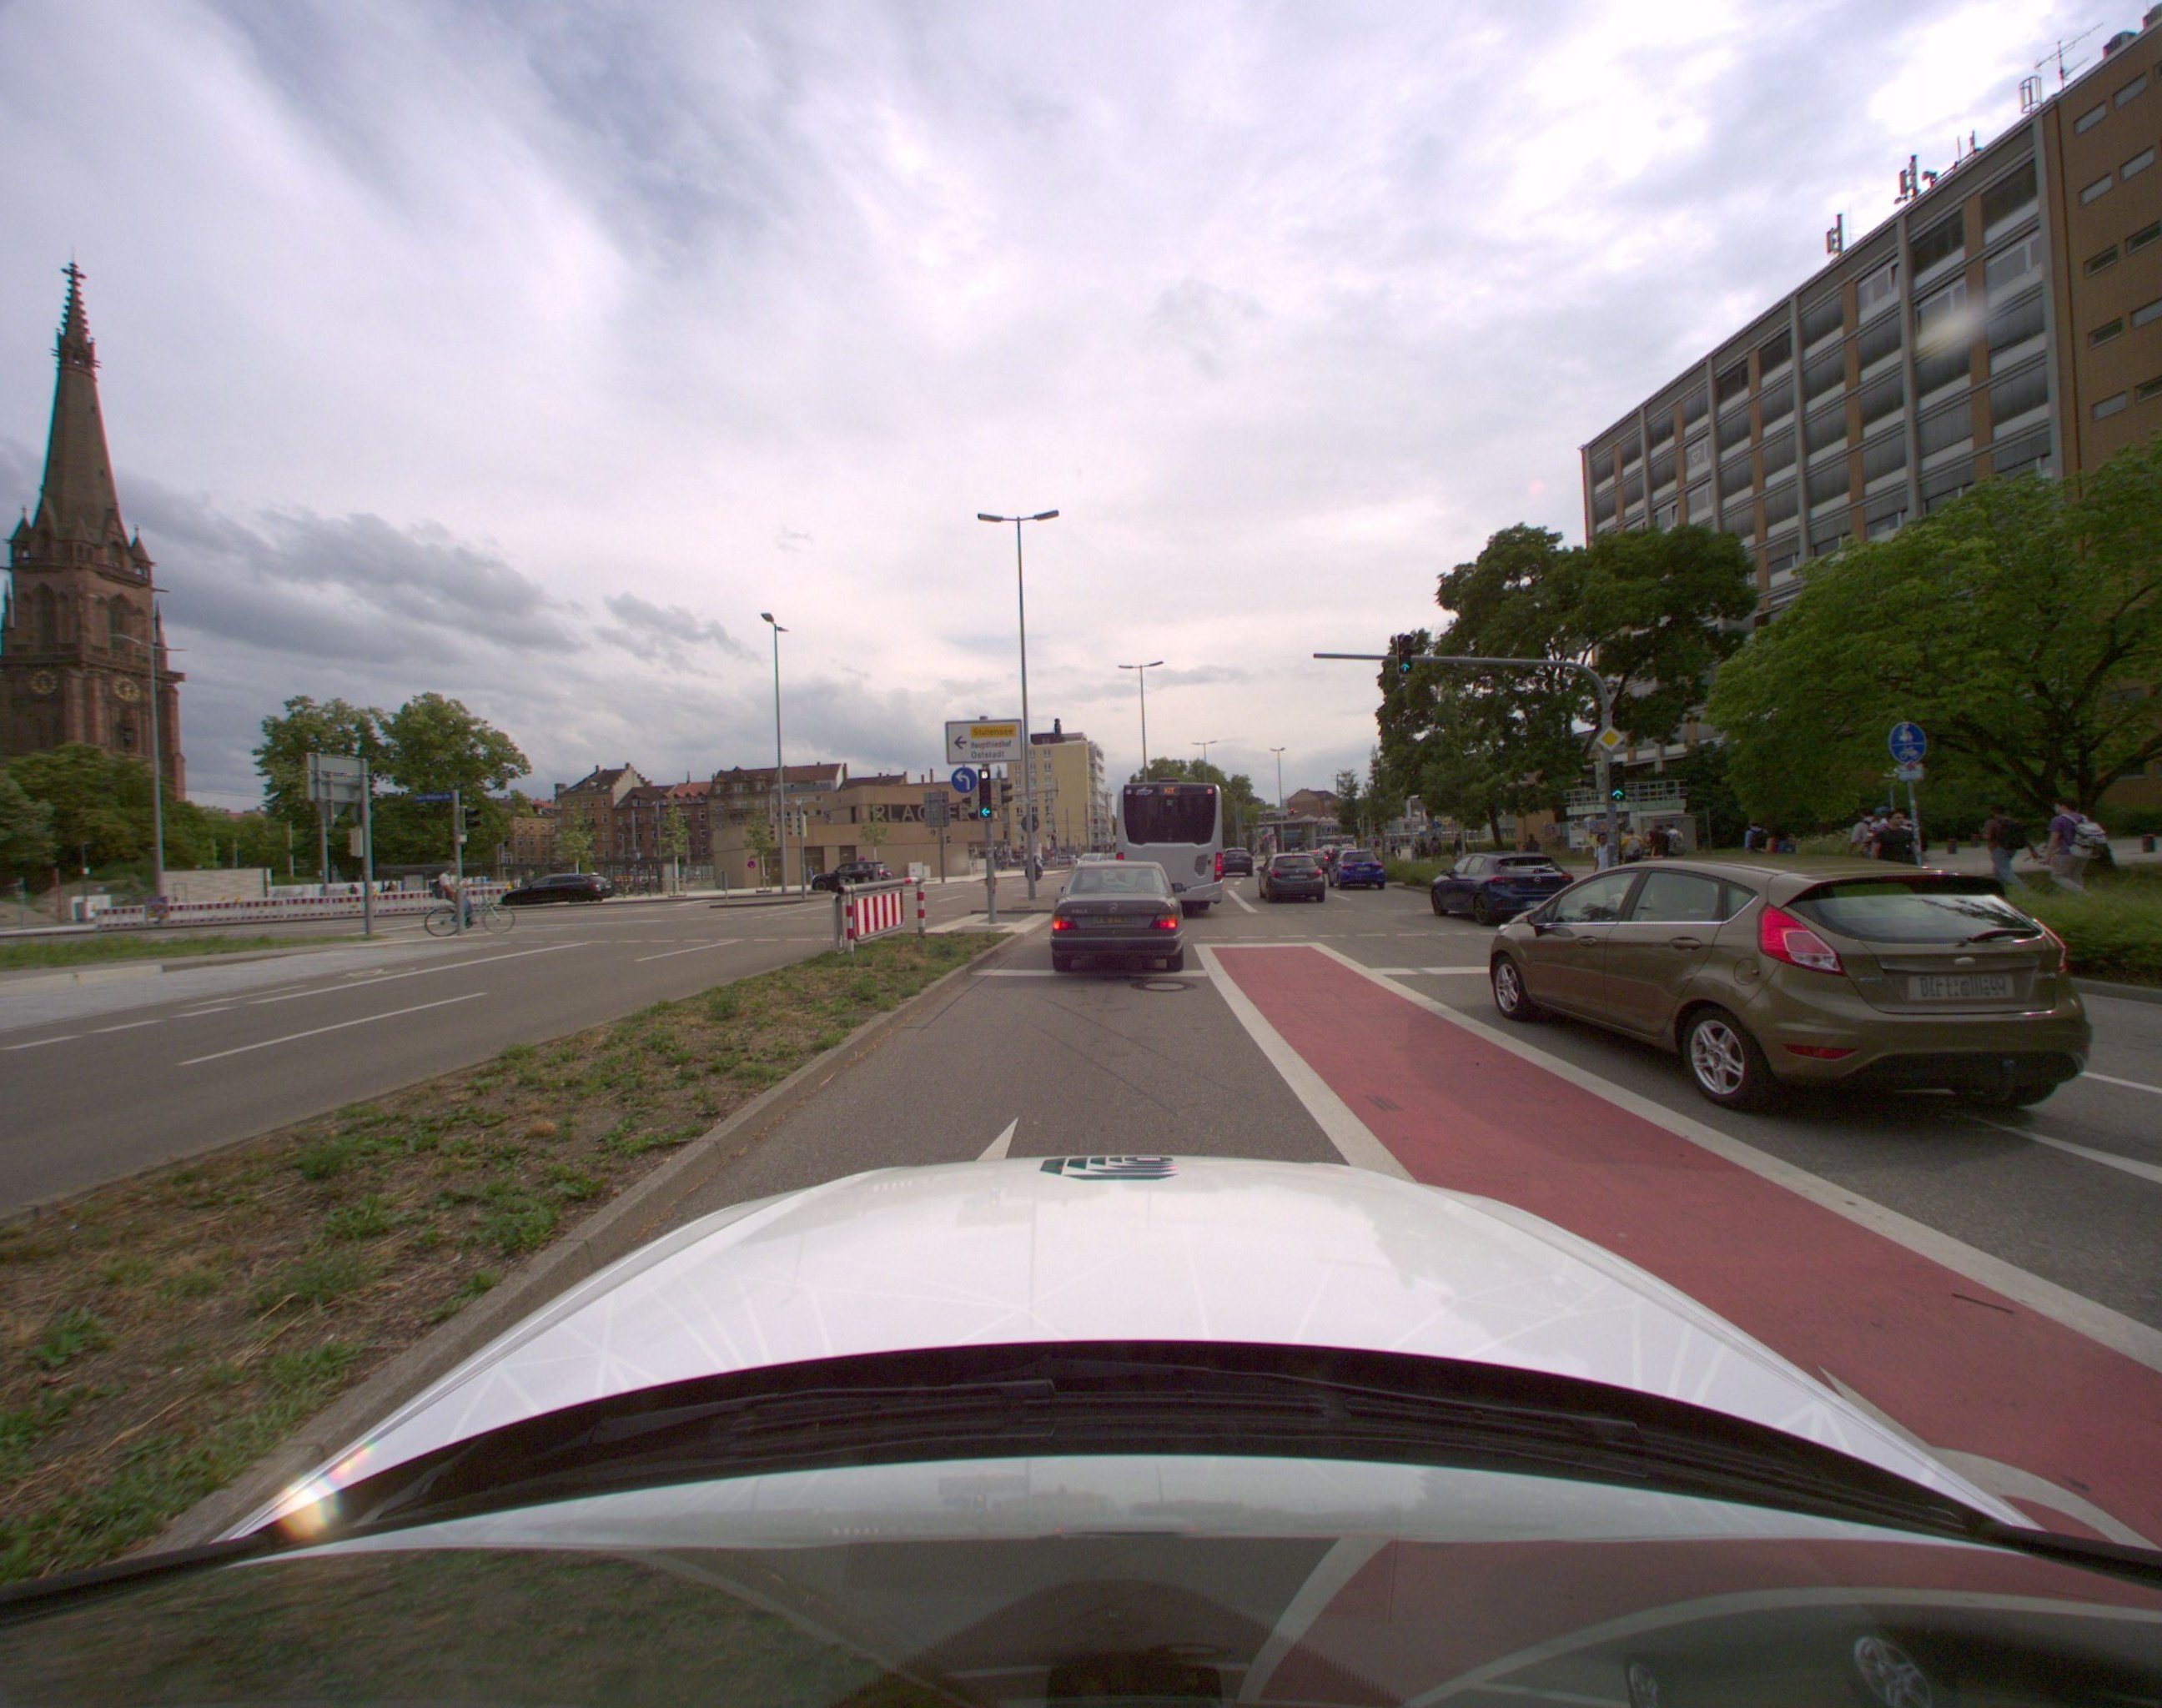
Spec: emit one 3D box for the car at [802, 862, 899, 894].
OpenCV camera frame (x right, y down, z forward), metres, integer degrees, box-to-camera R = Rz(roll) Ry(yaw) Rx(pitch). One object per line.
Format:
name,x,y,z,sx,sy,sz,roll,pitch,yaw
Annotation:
car,-11.016,1.127,39.037,3.961,1.486,2.006,-1,-1,11

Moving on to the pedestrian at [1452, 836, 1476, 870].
pedestrian,19.522,-0.030,41.561,0.774,1.711,1.029,-1,-1,4

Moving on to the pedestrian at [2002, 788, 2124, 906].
pedestrian,14.756,-0.104,12.270,0.833,1.711,0.801,-1,-1,4

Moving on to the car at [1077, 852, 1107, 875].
car,0.859,0.730,61.907,1.984,1.651,4.296,-1,-1,5

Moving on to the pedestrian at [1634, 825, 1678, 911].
pedestrian,11.627,0.288,16.478,0.477,1.711,0.589,-1,-1,6

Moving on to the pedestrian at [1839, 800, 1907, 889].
pedestrian,15.595,-0.180,16.055,0.635,1.711,0.709,-1,-1,4

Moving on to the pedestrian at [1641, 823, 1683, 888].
pedestrian,15.745,0.043,22.074,0.635,1.711,0.709,-1,-1,4

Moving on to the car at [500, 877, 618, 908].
car,-24.577,1.789,38.491,4.248,1.361,1.999,-1,-1,-1

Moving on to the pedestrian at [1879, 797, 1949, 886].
pedestrian,16.564,-0.241,16.206,0.635,1.711,0.709,-1,-1,4

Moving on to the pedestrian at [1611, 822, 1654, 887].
pedestrian,15.041,0.026,22.225,0.635,1.711,0.709,-3,-1,4

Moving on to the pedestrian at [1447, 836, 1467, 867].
pedestrian,21.448,-0.135,46.509,0.774,1.711,0.813,-1,-1,4

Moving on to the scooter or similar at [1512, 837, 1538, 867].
scooter or similar,20.407,-0.072,37.433,0.397,1.370,1.144,0,-1,-9

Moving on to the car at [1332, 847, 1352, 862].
car,26.569,0.074,82.806,1.689,1.420,3.719,-1,-1,21

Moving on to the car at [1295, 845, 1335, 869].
car,14.668,0.219,50.954,2.114,1.420,3.719,-1,-1,21

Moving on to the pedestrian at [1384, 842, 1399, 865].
pedestrian,22.102,-0.070,57.980,0.770,1.574,0.817,-4,-1,27

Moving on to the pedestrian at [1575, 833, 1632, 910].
pedestrian,11.977,0.395,18.685,0.793,1.711,0.841,-1,-1,6

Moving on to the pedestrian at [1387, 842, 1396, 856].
pedestrian,36.093,-0.584,94.670,0.770,1.574,0.817,-4,-1,27

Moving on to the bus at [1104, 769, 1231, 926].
bus,2.797,-0.118,25.745,2.690,3.438,14.210,-4,-1,7

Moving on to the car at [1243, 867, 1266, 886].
car,14.033,1.782,66.022,1.700,1.420,4.011,-1,-1,10

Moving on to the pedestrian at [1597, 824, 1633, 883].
pedestrian,17.309,-0.019,26.395,0.635,1.852,0.709,-3,-1,4

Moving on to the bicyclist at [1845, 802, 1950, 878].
bicyclist,14.373,-0.234,14.371,0.833,1.277,1.014,-1,-1,4

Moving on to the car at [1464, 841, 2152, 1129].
car,4.458,0.660,5.871,1.689,1.405,3.700,-1,-1,1

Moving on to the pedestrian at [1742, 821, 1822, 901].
pedestrian,14.377,0.149,16.721,0.833,1.543,0.801,-5,-1,4

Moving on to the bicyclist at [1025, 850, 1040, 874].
bicyclist,-3.455,0.586,58.376,0.861,1.669,0.883,-1,-1,10

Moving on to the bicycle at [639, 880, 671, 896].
bicycle,-31.187,2.487,59.685,0.577,1.156,1.978,-1,-1,44

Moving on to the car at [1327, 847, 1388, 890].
car,10.697,0.552,31.761,1.845,1.533,4.016,-1,-1,13

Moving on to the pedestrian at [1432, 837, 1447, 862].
pedestrian,23.331,-0.306,52.985,0.770,1.574,0.817,-4,-1,27

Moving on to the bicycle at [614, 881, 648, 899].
bicycle,-31.140,2.459,56.353,0.577,1.156,1.978,-1,-1,44

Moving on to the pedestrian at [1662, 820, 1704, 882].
pedestrian,17.062,-0.085,23.097,0.635,1.711,0.709,-2,-1,4

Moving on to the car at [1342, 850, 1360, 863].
car,29.575,0.290,89.218,1.689,1.420,3.719,-1,-1,21

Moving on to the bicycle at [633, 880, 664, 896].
bicycle,-32.205,2.506,60.702,0.577,1.156,1.978,-1,-1,44

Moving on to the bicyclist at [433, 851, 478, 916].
bicyclist,-15.286,0.712,19.907,0.572,1.555,0.802,-4,-3,44

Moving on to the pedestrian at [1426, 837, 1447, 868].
pedestrian,20.256,-0.074,46.383,0.774,1.711,1.029,-1,-1,4

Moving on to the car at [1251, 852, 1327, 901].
car,6.401,0.662,25.420,1.702,1.420,4.006,-1,-1,5

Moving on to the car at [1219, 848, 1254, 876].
car,9.100,0.464,47.859,1.824,1.615,3.554,-1,-1,8

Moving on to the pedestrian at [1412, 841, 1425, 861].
pedestrian,26.905,-0.252,64.893,0.770,1.574,0.817,-4,-1,27

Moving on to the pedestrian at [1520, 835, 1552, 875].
pedestrian,18.515,0.035,33.166,0.774,1.574,0.813,-4,-1,4

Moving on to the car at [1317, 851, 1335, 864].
car,27.702,0.437,91.958,1.696,1.420,4.020,-1,-1,21

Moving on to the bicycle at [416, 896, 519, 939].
bicycle,-15.081,1.538,20.069,0.499,0.936,1.983,-4,-3,44

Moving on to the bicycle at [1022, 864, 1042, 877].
bicycle,-3.491,1.192,58.289,0.857,0.876,2.526,-1,-1,10

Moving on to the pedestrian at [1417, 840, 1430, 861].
pedestrian,26.553,-0.267,63.181,0.770,1.574,0.817,-4,-1,27

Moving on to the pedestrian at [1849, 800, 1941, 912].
pedestrian,12.807,0.030,12.834,0.729,1.711,0.694,-1,-1,4

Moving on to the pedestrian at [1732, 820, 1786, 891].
pedestrian,17.025,0.045,20.471,0.635,1.711,0.709,-4,-1,4

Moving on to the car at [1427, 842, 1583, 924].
car,8.614,0.559,16.894,1.658,1.508,3.640,-1,-1,6

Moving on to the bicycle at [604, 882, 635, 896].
bicycle,-34.305,2.618,60.528,1.976,0.970,0.577,0,-1,-40

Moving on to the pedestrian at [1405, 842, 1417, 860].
pedestrian,29.073,-0.287,71.707,0.770,1.574,0.817,-4,-1,27

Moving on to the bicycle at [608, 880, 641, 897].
bicycle,-32.804,2.494,58.550,0.577,1.156,1.978,-1,-1,44

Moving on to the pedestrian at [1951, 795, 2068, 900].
pedestrian,15.770,-0.101,13.866,0.833,1.711,1.014,-1,-1,4

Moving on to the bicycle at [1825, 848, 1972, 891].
bicycle,14.376,0.264,14.410,0.837,0.694,1.847,-1,-1,4

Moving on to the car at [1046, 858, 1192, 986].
car,0.481,0.812,11.728,1.689,1.480,4.416,-1,-1,1
